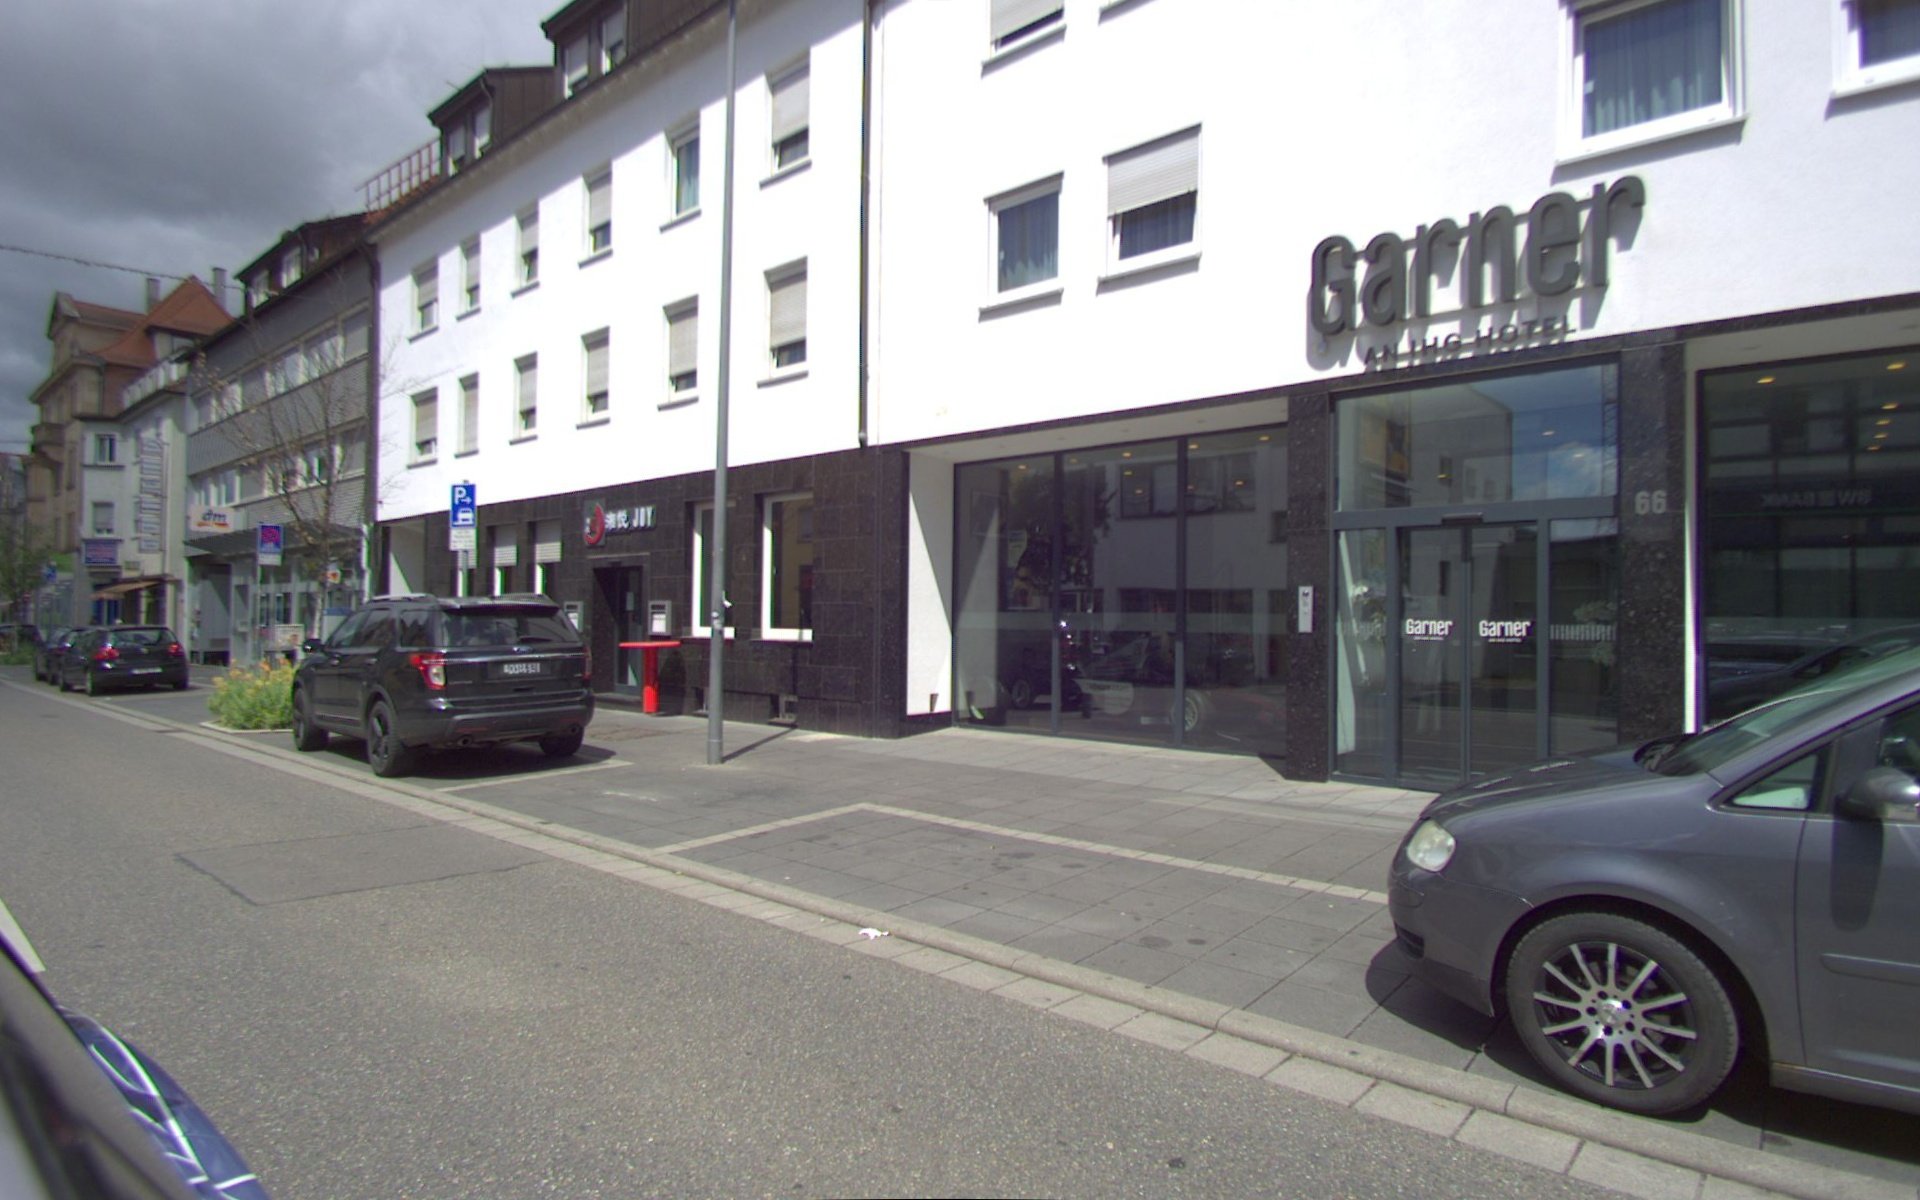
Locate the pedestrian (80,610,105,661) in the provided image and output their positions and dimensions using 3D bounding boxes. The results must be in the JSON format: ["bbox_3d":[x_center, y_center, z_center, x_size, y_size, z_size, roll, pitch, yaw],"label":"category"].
[{"bbox_3d":[-30.748,1.243,35.879,0.728,1.770,0.543,0,0,38],"label":"pedestrian"}]

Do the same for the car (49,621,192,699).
[{"bbox_3d":[-18.782,1.267,22.587,4.175,1.515,1.772,-1,0,40],"label":"car"}]

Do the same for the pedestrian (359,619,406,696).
[{"bbox_3d":[-11.262,1.107,19.748,0.563,1.466,0.647,0,0,41],"label":"pedestrian"}]

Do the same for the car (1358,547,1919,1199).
[{"bbox_3d":[3.693,0.738,2.835,4.463,1.768,1.796,0,0,43],"label":"car"}]

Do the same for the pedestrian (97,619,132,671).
[{"bbox_3d":[-27.161,1.437,32.502,0.650,1.630,0.724,0,0,36],"label":"pedestrian"}]

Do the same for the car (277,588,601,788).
[{"bbox_3d":[-5.931,0.779,11.220,4.670,1.768,1.796,0,0,44],"label":"car"}]

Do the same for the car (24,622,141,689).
[{"bbox_3d":[-23.250,1.385,26.756,4.711,1.524,1.771,0,0,42],"label":"car"}]

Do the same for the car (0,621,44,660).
[{"bbox_3d":[-36.964,1.548,39.056,3.547,1.457,1.584,-1,-2,34],"label":"car"}]

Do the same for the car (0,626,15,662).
[{"bbox_3d":[-40.833,1.842,42.373,3.668,1.425,1.569,0,0,42],"label":"car"}]
